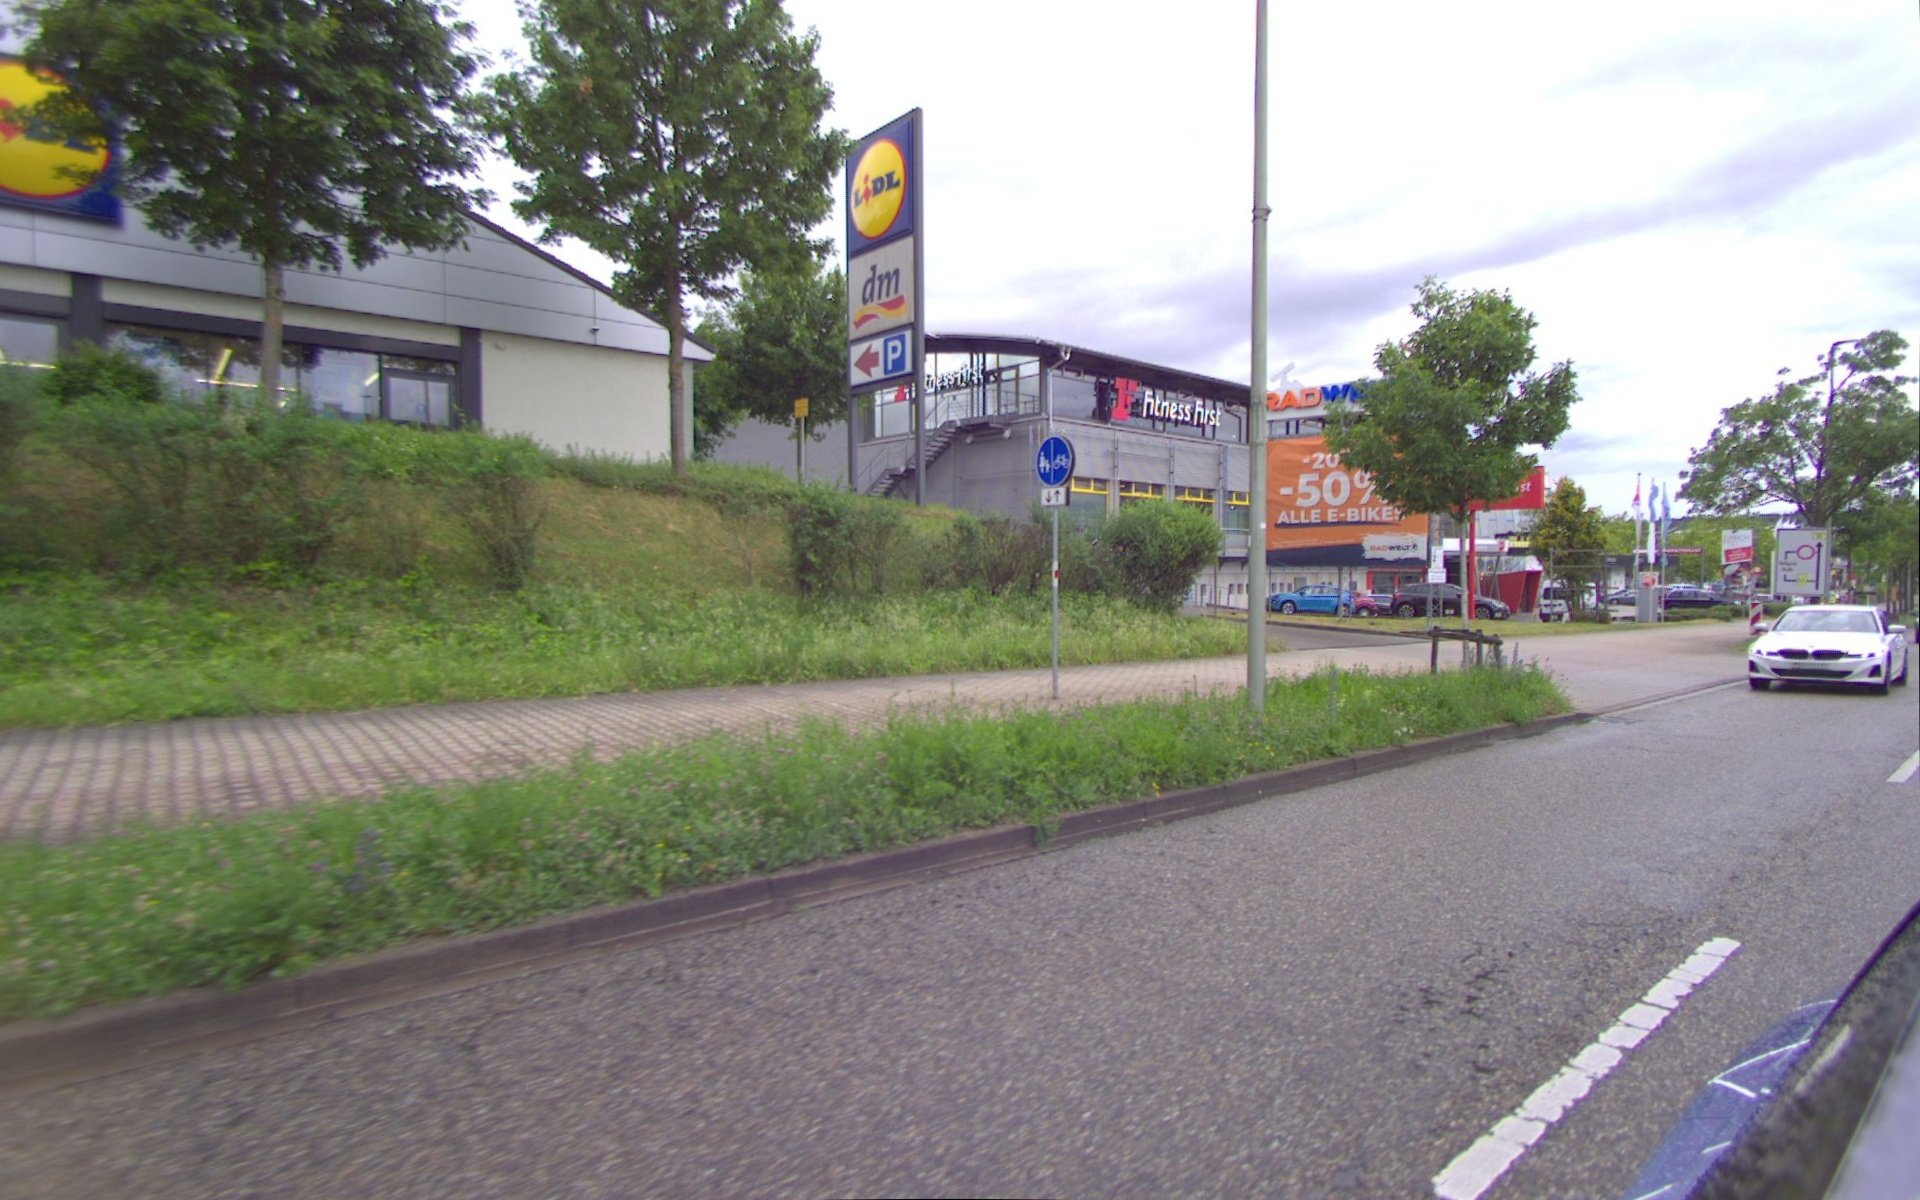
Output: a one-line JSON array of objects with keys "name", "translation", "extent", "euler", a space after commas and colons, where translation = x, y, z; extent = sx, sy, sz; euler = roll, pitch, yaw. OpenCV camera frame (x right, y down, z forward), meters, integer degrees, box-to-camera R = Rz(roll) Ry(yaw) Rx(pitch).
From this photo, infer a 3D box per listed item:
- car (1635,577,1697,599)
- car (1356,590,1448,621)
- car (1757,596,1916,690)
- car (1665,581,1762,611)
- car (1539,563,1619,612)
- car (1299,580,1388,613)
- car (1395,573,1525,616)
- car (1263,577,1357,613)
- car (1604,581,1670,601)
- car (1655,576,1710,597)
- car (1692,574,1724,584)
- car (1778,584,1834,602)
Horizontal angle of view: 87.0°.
[{"name": "car", "translation": [67.021, -1.159, 96.124], "extent": [4.424, 1.701, 1.797], "euler": [3, 4, 9]}, {"name": "car", "translation": [23.928, 0.313, 54.881], "extent": [4.183, 1.489, 1.738], "euler": [2, -1, 4]}, {"name": "car", "translation": [15.582, 0.665, 17.914], "extent": [1.804, 1.459, 4.468], "euler": [-1, -1, 45]}, {"name": "car", "translation": [49.382, -0.287, 66.392], "extent": [1.889, 1.620, 4.676], "euler": [1, 4, -33]}, {"name": "car", "translation": [33.885, -0.662, 55.318], "extent": [5.583, 2.569, 2.230], "euler": [0, -1, -42]}, {"name": "car", "translation": [19.292, -0.155, 51.050], "extent": [3.808, 1.521, 1.736], "euler": [2, -1, 7]}, {"name": "car", "translation": [18.408, -0.213, 37.303], "extent": [4.076, 1.457, 1.774], "euler": [2, -1, 34]}, {"name": "car", "translation": [16.684, -0.217, 48.384], "extent": [3.842, 1.579, 1.737], "euler": [2, -1, 5]}, {"name": "car", "translation": [59.489, -0.806, 88.948], "extent": [4.418, 1.412, 1.799], "euler": [3, 4, 5]}, {"name": "car", "translation": [73.642, -1.387, 103.169], "extent": [4.040, 1.766, 1.800], "euler": [3, 4, 3]}, {"name": "car", "translation": [120.750, -3.360, 163.396], "extent": [1.770, 1.529, 3.991], "euler": [0, 2, -43]}, {"name": "car", "translation": [87.332, -0.741, 104.507], "extent": [4.233, 1.598, 1.744], "euler": [3, 3, 0]}]
